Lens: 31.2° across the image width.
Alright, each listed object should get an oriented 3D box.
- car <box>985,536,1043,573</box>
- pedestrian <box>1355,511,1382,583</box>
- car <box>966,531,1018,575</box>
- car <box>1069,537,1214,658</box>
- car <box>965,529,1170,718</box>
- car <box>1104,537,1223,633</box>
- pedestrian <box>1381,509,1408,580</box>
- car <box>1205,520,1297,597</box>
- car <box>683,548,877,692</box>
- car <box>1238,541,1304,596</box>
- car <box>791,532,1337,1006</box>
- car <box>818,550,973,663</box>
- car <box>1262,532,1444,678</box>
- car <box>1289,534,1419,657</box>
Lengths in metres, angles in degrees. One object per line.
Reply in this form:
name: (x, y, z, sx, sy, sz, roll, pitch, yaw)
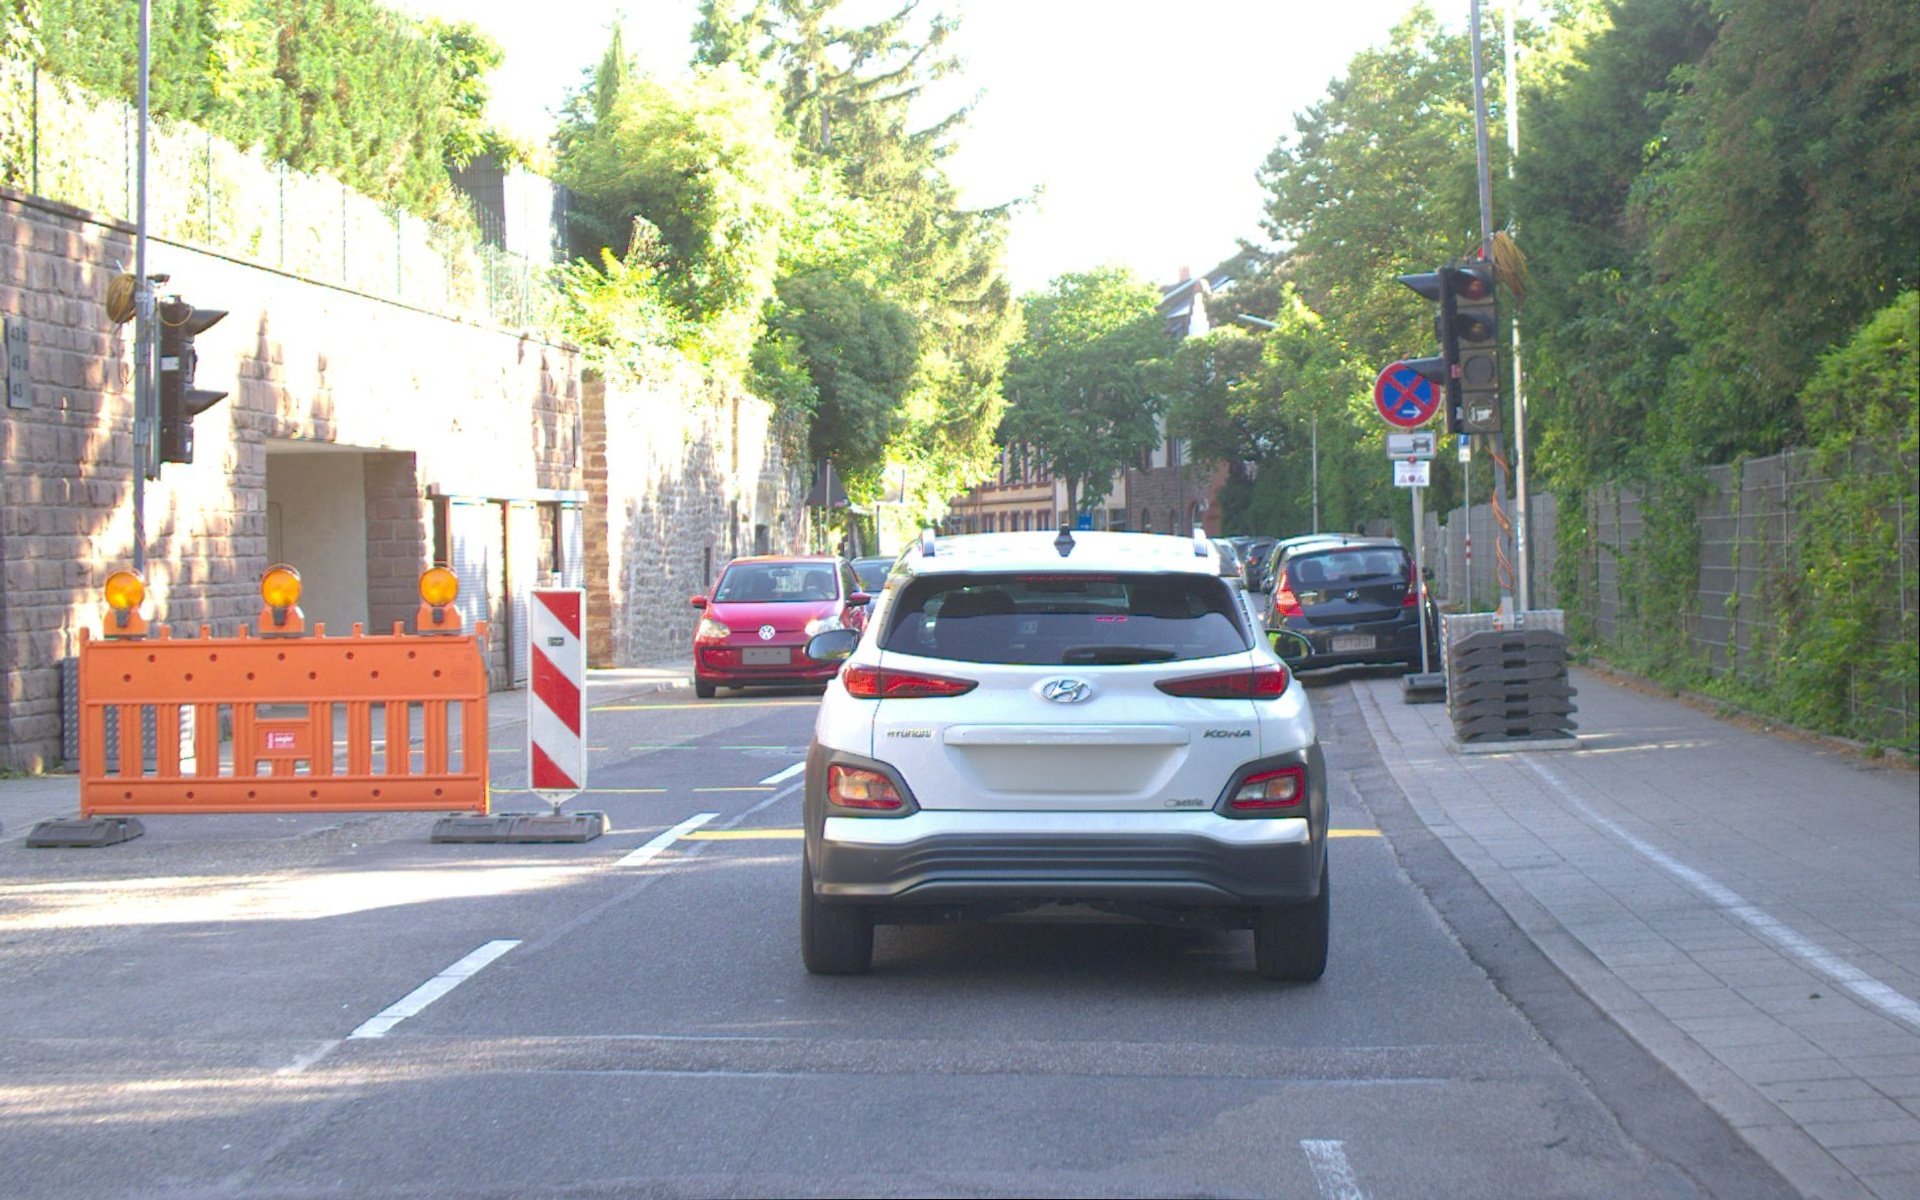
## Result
car: (2.384, -2.043, 152.848, 1.755, 1.611, 4.001, 0, 1, -12)
pedestrian: (9.237, -1.196, 77.751, 0.503, 1.601, 0.491, -3, 0, 6)
car: (1.200, -1.774, 130.663, 1.741, 1.469, 4.000, -5, 0, -2)
car: (2.349, -0.061, 43.863, 1.571, 1.472, 3.547, 0, 1, 8)
car: (1.000, 0.164, 30.343, 1.512, 1.528, 3.547, -1, 1, 6)
car: (3.507, -0.266, 58.788, 1.694, 1.528, 3.880, 2, 1, 8)
pedestrian: (9.816, -1.251, 77.614, 0.503, 1.564, 0.503, -3, 0, 6)
car: (6.280, -0.913, 73.890, 1.694, 1.442, 3.881, -4, 2, 8)
car: (-1.863, 0.179, 36.567, 1.627, 1.417, 3.562, -2, 1, 4)
car: (9.164, -0.950, 101.477, 1.593, 1.484, 3.602, -4, 1, 1)
car: (0.355, 0.513, 13.162, 1.772, 1.537, 4.000, 0, 1, 1)
car: (-0.822, 0.057, 45.941, 1.649, 1.406, 3.930, -2, 1, 5)
car: (4.148, 0.019, 36.741, 1.794, 1.436, 3.999, -1, 1, 5)
car: (5.408, -0.074, 47.038, 1.653, 1.559, 2.871, 2, 1, 8)
